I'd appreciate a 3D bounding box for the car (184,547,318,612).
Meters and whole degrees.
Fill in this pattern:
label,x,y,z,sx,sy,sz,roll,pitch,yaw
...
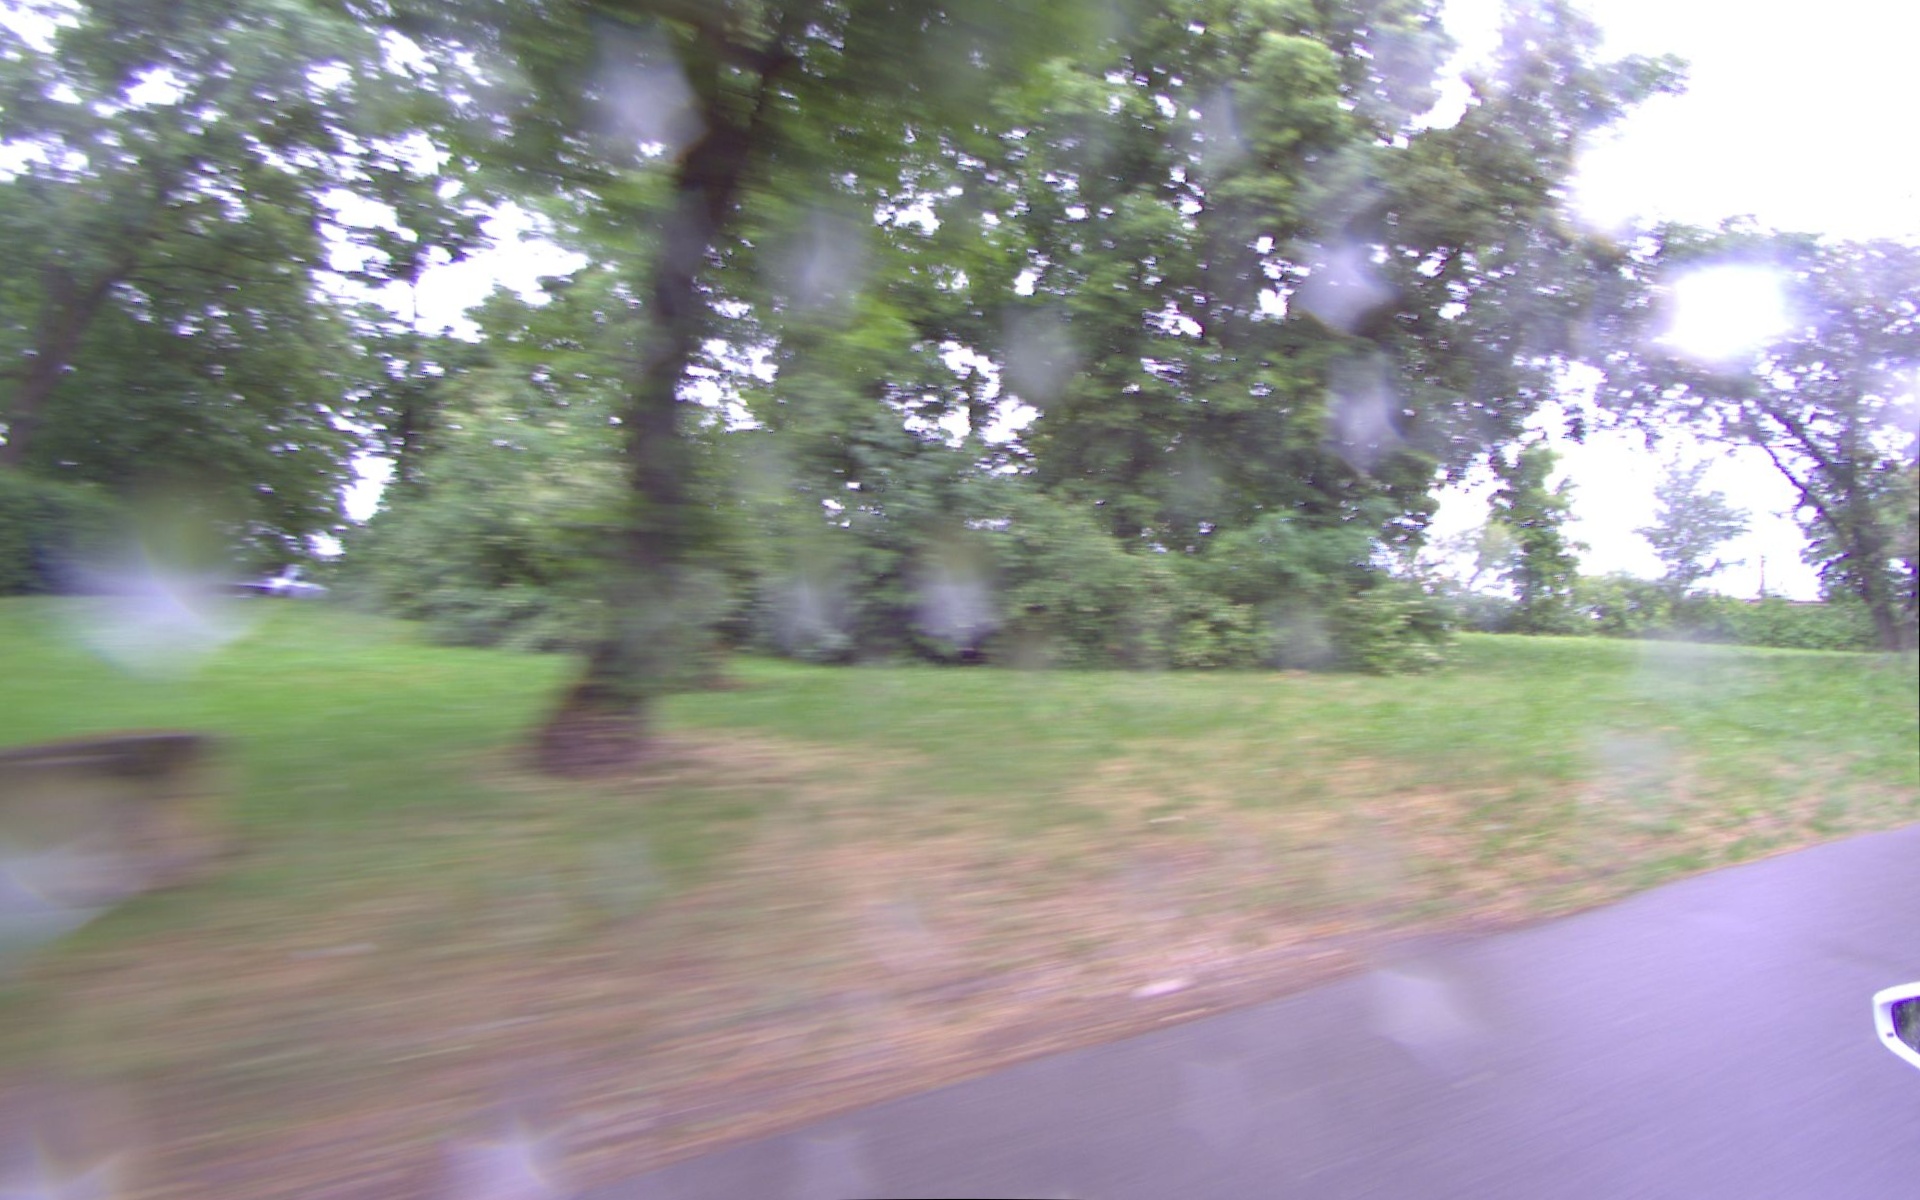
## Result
label,x,y,z,sx,sy,sz,roll,pitch,yaw
car,-18.742,-0.510,26.759,1.852,1.503,3.981,3,-1,-20
